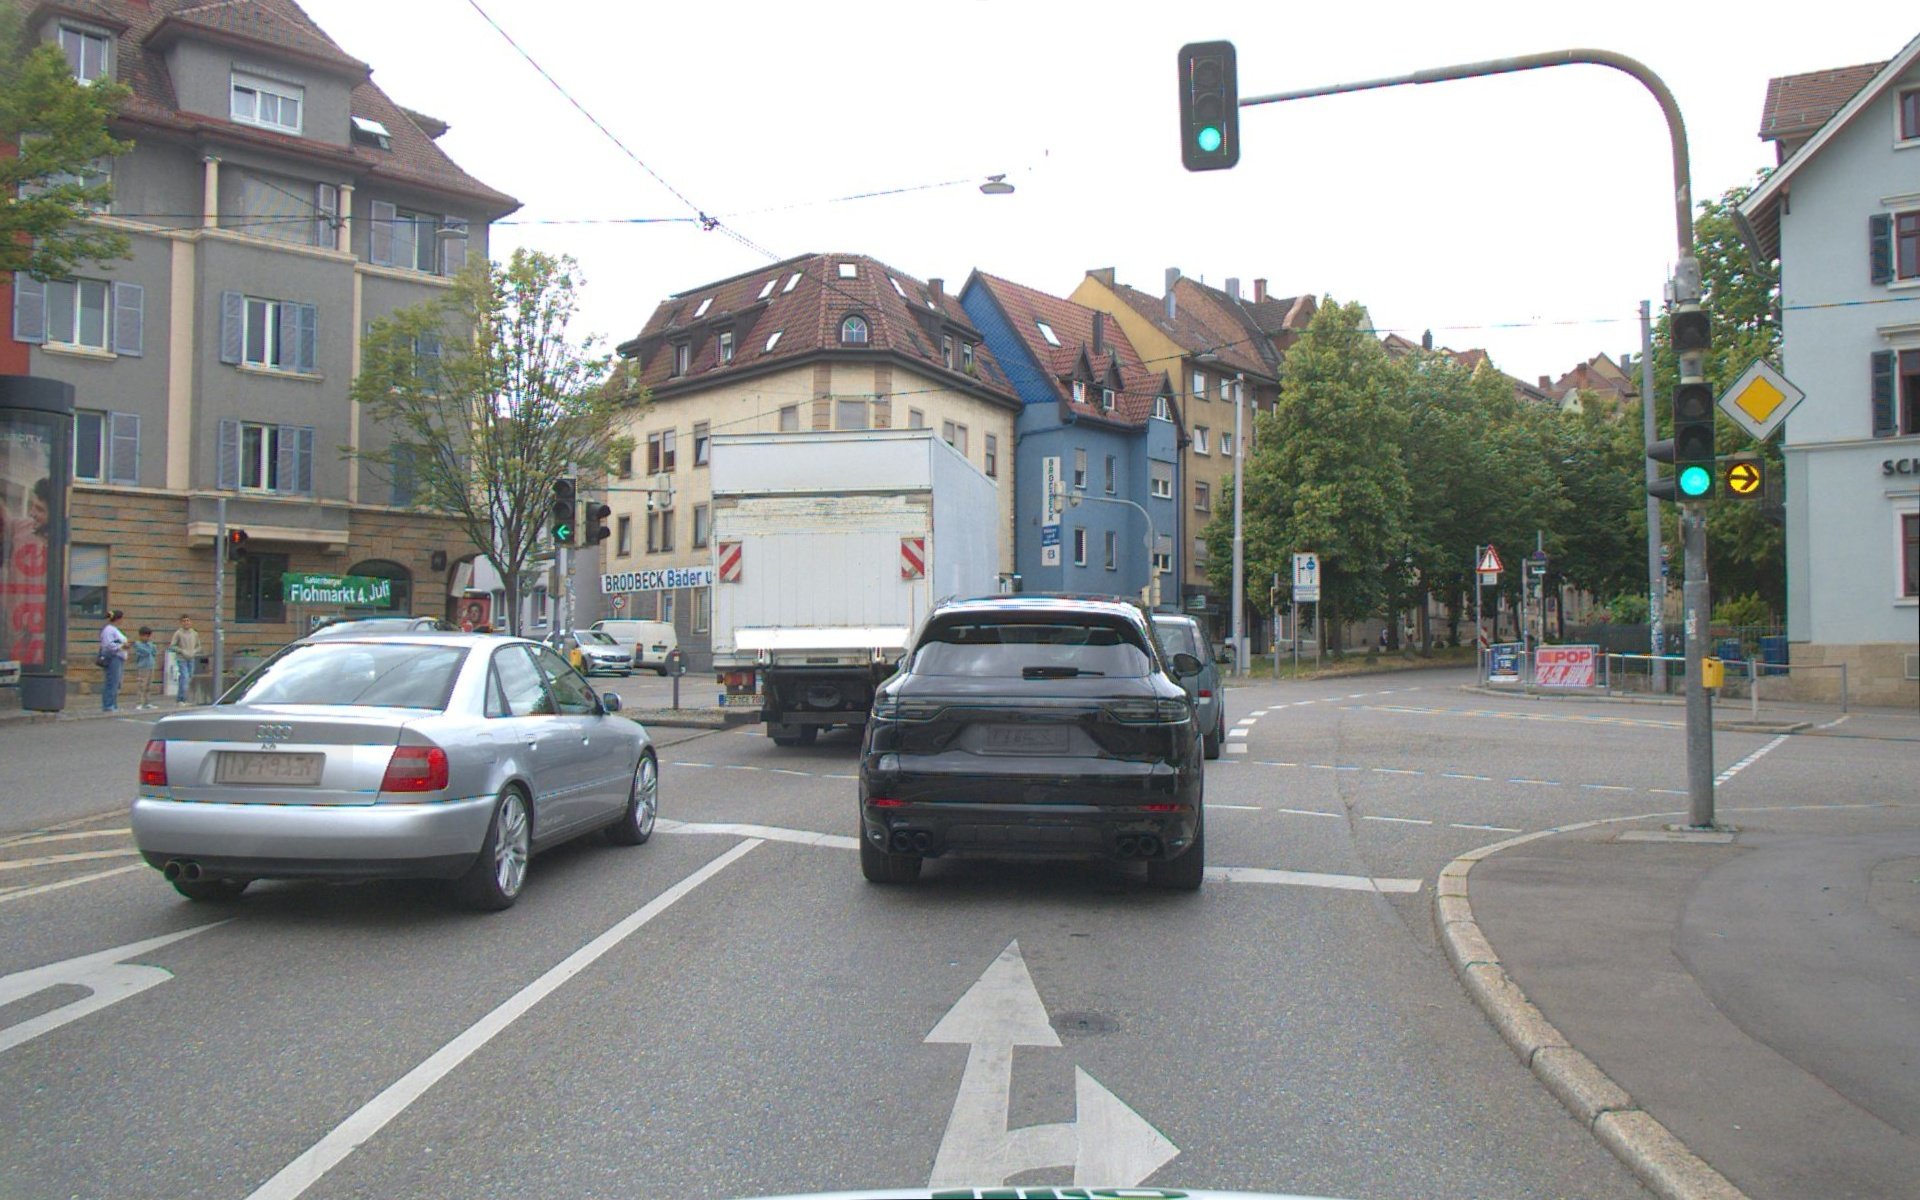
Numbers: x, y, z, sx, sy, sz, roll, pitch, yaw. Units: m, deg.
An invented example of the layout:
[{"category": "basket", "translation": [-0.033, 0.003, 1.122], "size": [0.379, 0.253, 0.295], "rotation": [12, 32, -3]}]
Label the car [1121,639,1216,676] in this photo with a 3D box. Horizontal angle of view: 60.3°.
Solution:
[{"category": "car", "translation": [8.691, 2.401, 68.518], "size": [1.839, 1.441, 4.678], "rotation": [-2, -3, 37]}]

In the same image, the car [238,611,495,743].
[{"category": "car", "translation": [-7.613, 0.942, 21.650], "size": [1.750, 1.558, 4.037], "rotation": [0, -1, 2]}]

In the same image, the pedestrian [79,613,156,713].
[{"category": "pedestrian", "translation": [-13.492, 1.001, 26.499], "size": [0.776, 1.573, 0.738], "rotation": [0, -1, 18]}]

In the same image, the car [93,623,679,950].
[{"category": "car", "translation": [-2.913, 0.853, 9.420], "size": [1.594, 1.389, 4.130], "rotation": [1, -1, 4]}]

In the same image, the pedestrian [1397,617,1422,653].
[{"category": "pedestrian", "translation": [26.165, 2.023, 96.244], "size": [1.172, 2.049, 0.985], "rotation": [0, -1, 35]}]

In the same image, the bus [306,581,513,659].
[{"category": "bus", "translation": [-24.065, 0.877, 71.779], "size": [11.938, 3.150, 3.147], "rotation": [0, -2, 43]}]

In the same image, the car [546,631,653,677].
[{"category": "car", "translation": [-12.275, 1.838, 56.206], "size": [1.865, 1.495, 3.913], "rotation": [3, -3, -43]}]

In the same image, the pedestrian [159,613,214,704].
[{"category": "pedestrian", "translation": [-13.076, 0.983, 27.963], "size": [0.511, 1.513, 0.654], "rotation": [0, -1, 17]}]

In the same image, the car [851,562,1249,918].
[{"category": "car", "translation": [0.603, 0.714, 10.720], "size": [1.989, 1.753, 4.502], "rotation": [2, 0, 4]}]

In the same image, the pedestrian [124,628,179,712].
[{"category": "pedestrian", "translation": [-13.357, 1.143, 27.338], "size": [0.562, 1.361, 0.584], "rotation": [0, -1, 18]}]

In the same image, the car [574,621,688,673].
[{"category": "car", "translation": [-12.127, 1.685, 60.892], "size": [4.261, 1.831, 2.051], "rotation": [-1, -1, 43]}]

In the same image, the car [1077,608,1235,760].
[{"category": "car", "translation": [2.388, 0.944, 19.504], "size": [1.613, 1.583, 3.585], "rotation": [1, -1, 10]}]

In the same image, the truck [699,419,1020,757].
[{"category": "truck", "translation": [-0.946, -0.069, 22.019], "size": [2.667, 3.606, 8.427], "rotation": [1, -1, 7]}]
